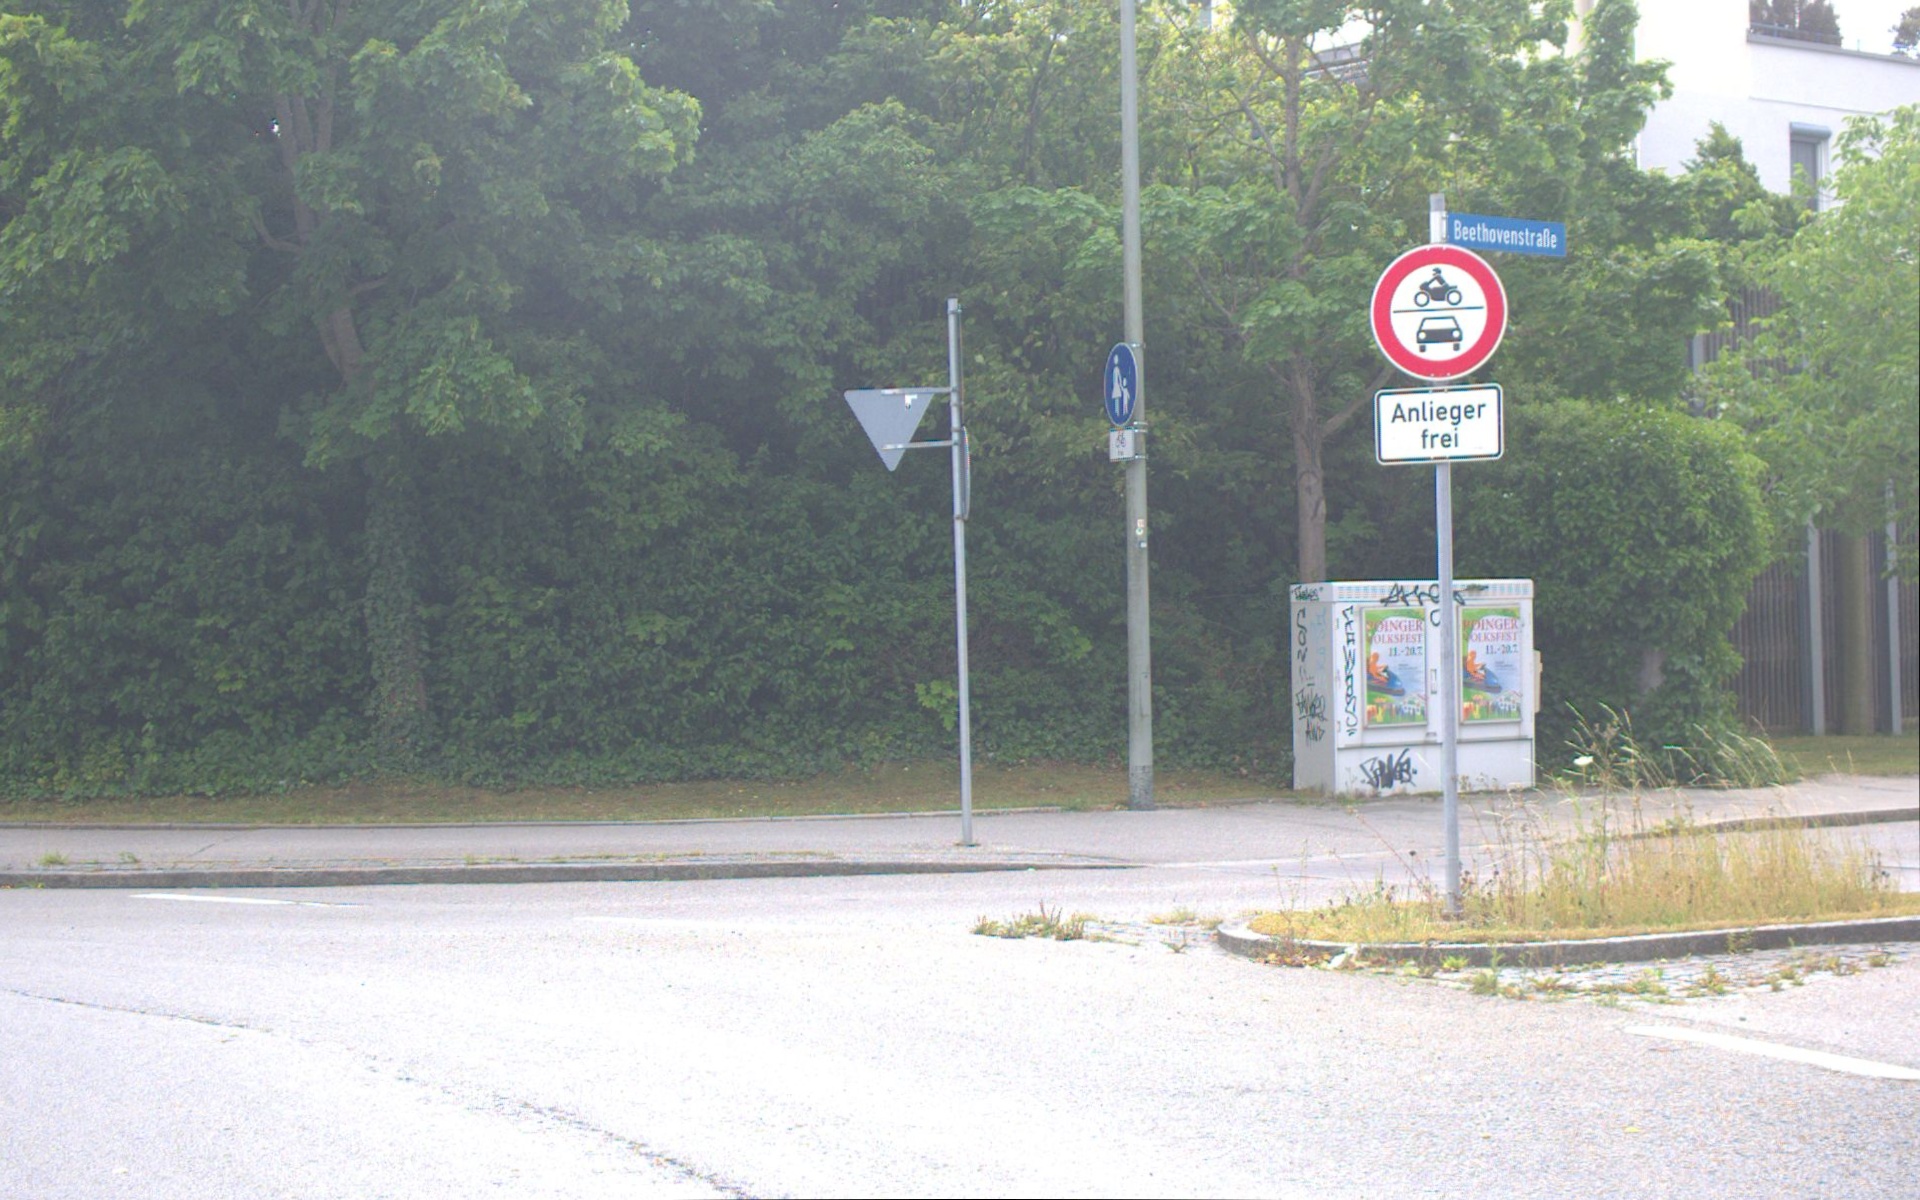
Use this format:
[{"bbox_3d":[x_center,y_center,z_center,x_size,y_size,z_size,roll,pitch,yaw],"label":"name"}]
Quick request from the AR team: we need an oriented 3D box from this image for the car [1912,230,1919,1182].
[{"bbox_3d":[4.851,0.295,10.501,2.166,2.444,5.431,0,0,33],"label":"car"}]
